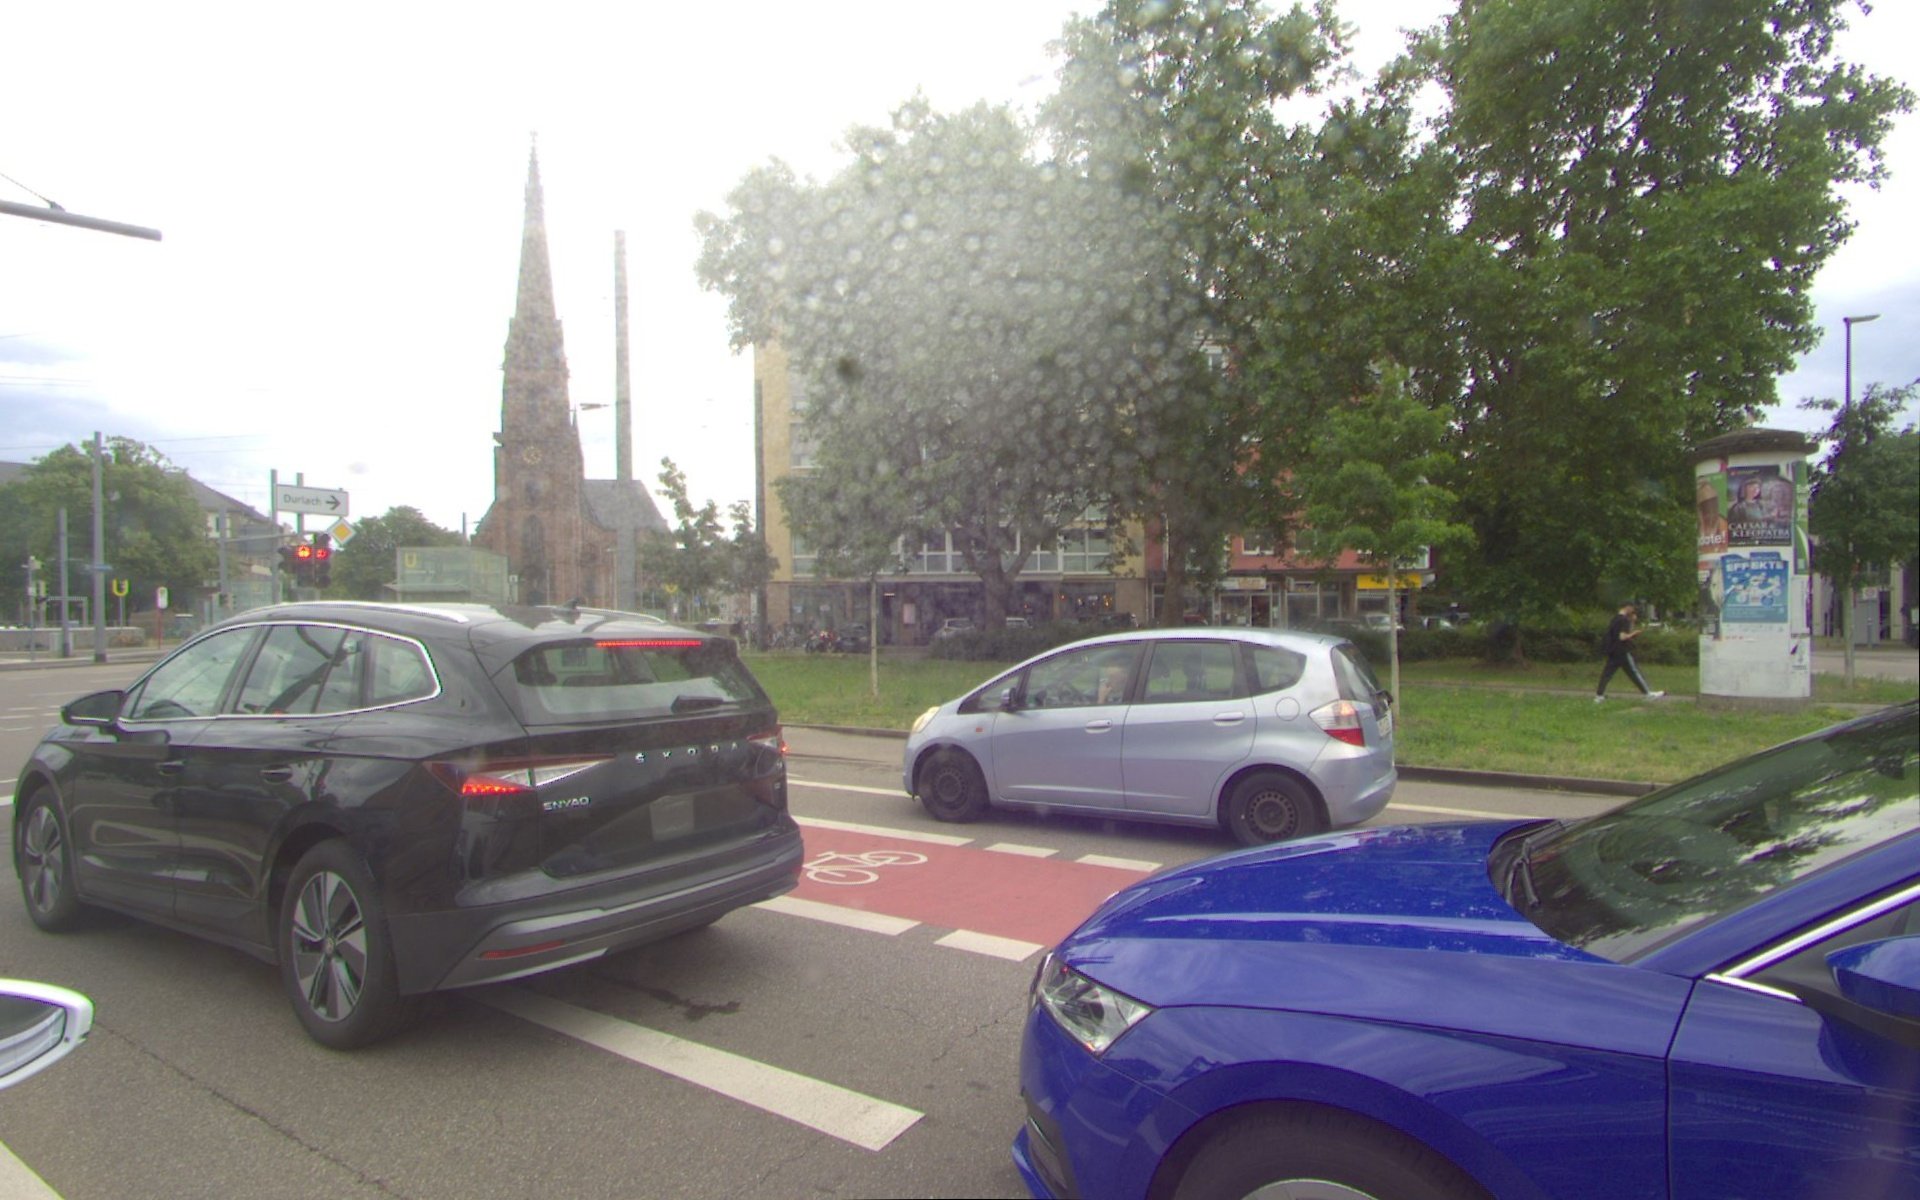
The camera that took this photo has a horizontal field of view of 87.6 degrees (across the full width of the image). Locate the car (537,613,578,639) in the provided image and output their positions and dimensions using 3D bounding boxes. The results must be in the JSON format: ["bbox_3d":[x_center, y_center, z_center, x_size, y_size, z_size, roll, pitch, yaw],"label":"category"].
[{"bbox_3d":[-32.569,2.071,81.045,1.961,2.040,4.000,0,-1,-5],"label":"car"}]

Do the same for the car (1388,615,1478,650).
[{"bbox_3d":[21.967,1.483,46.685,1.825,1.568,4.476,0,-1,-5],"label":"car"}]

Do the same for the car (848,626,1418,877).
[{"bbox_3d":[1.258,0.954,7.811,4.039,1.486,1.746,-1,-1,32],"label":"car"}]

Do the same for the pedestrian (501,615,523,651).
[{"bbox_3d":[-20.784,1.534,46.490,0.625,1.659,0.872,0,0,-1],"label":"pedestrian"}]

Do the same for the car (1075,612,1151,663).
[{"bbox_3d":[5.492,1.332,36.478,1.825,1.745,4.476,0,-1,-3],"label":"car"}]

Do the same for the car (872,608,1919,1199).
[{"bbox_3d":[2.143,0.762,1.680,4.402,1.508,1.776,-1,-1,32],"label":"car"}]

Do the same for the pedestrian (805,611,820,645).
[{"bbox_3d":[-7.334,1.399,49.683,0.625,1.659,0.872,0,0,0],"label":"pedestrian"}]

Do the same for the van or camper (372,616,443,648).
[{"bbox_3d":[-33.031,1.903,60.002,1.961,1.764,4.305,-2,-1,-3],"label":"van or camper"}]

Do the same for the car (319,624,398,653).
[{"bbox_3d":[-32.250,2.036,53.846,1.740,1.483,4.001,-2,-1,1],"label":"car"}]

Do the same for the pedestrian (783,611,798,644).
[{"bbox_3d":[-8.553,1.368,50.631,0.625,1.659,0.872,0,0,-1],"label":"pedestrian"}]

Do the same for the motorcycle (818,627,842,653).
[{"bbox_3d":[-5.119,1.571,39.341,0.857,1.010,1.014,0,-1,-11],"label":"motorcycle"}]

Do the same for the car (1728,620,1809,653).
[{"bbox_3d":[43.519,1.962,54.025,1.828,1.644,4.469,-2,-1,17],"label":"car"}]

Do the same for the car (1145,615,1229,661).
[{"bbox_3d":[8.227,1.348,36.676,1.825,1.568,4.476,0,-1,-3],"label":"car"}]

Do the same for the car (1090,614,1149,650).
[{"bbox_3d":[7.373,1.470,46.698,1.825,1.568,4.476,0,-1,-3],"label":"car"}]

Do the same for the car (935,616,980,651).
[{"bbox_3d":[-0.157,1.505,46.153,1.825,1.509,4.476,0,-1,-3],"label":"car"}]

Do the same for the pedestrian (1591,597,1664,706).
[{"bbox_3d":[11.651,0.886,17.494,0.968,1.868,0.536,0,0,-11],"label":"pedestrian"}]

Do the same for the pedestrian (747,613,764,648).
[{"bbox_3d":[-9.926,1.471,48.663,0.625,1.659,0.872,0,0,0],"label":"pedestrian"}]

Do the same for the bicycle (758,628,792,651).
[{"bbox_3d":[-7.456,1.605,40.458,1.240,0.929,0.595,0,0,2],"label":"bicycle"}]

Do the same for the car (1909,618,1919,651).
[{"bbox_3d":[46.497,1.609,46.349,1.865,1.568,4.469,-2,-1,17],"label":"car"}]

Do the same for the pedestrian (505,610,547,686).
[{"bbox_3d":[-11.391,1.238,26.284,0.874,1.956,1.016,0,0,-16],"label":"pedestrian"}]

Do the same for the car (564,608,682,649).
[{"bbox_3d":[-18.106,1.491,53.943,5.674,2.039,2.011,-1,-1,-40],"label":"car"}]

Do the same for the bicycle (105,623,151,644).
[{"bbox_3d":[-55.443,2.243,66.738,0.699,1.348,2.252,-2,-1,39],"label":"bicycle"}]

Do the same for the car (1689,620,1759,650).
[{"bbox_3d":[45.355,2.041,59.563,1.828,1.644,4.469,-2,-1,17],"label":"car"}]

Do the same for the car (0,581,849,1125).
[{"bbox_3d":[-2.848,0.795,4.903,4.444,1.617,1.774,-1,-1,31],"label":"car"}]

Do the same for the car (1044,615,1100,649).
[{"bbox_3d":[5.133,1.471,46.504,1.825,1.509,4.476,0,-1,-3],"label":"car"}]

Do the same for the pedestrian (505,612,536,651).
[{"bbox_3d":[-21.151,1.507,48.253,1.066,1.820,0.947,-1,-1,-3],"label":"pedestrian"}]

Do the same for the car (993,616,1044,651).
[{"bbox_3d":[2.661,1.515,46.201,1.825,1.509,4.476,0,-1,-3],"label":"car"}]

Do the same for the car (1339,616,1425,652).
[{"bbox_3d":[19.501,1.546,46.450,1.825,1.568,4.476,0,-1,-5],"label":"car"}]

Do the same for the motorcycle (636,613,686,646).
[{"bbox_3d":[-11.123,1.097,37.335,0.753,1.183,2.385,0,-1,12],"label":"motorcycle"}]
